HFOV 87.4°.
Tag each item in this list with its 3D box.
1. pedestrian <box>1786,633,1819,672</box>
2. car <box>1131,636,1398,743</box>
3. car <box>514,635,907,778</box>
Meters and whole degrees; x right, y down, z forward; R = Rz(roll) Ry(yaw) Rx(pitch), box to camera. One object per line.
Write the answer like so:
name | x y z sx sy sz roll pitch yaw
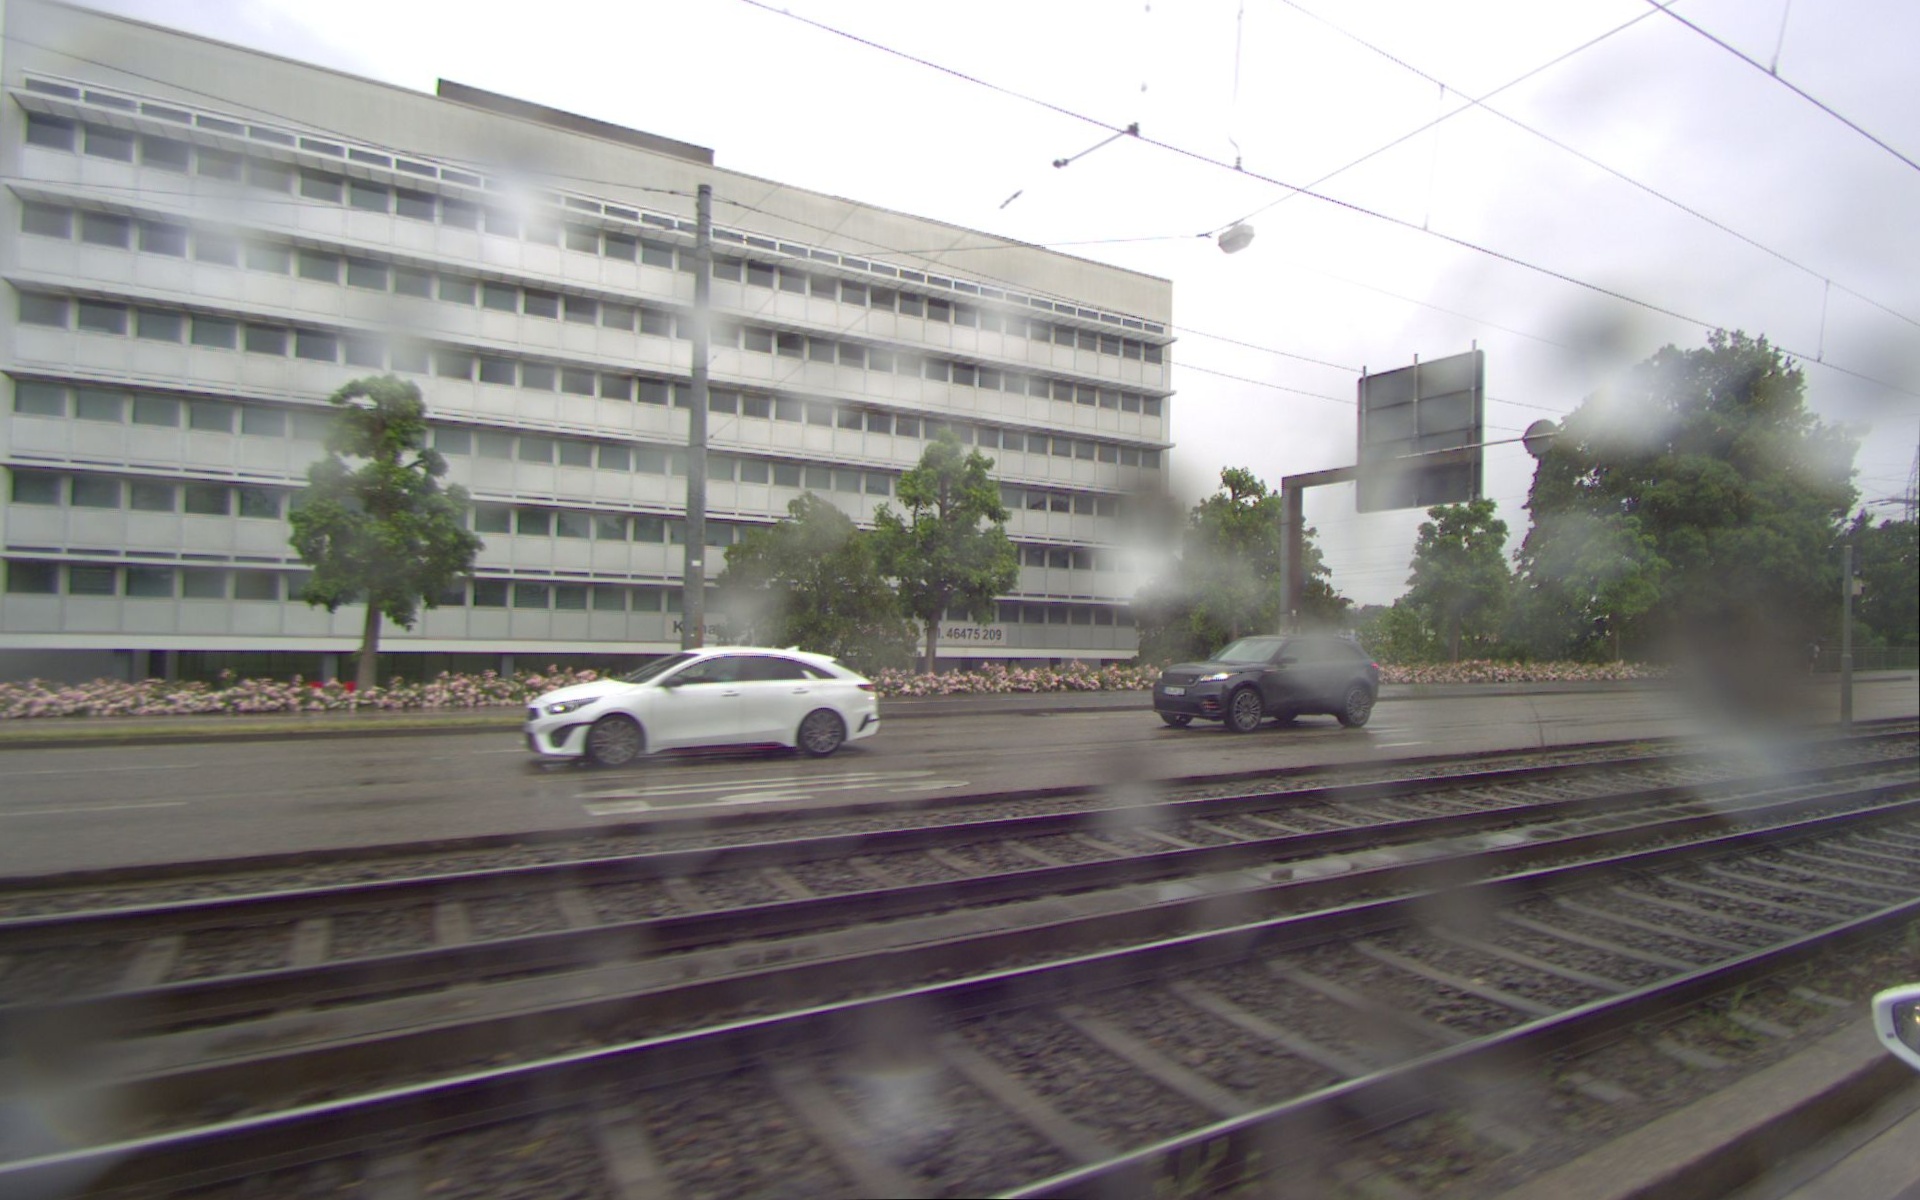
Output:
pedestrian | 39.386 2.439 46.940 1.108 1.782 0.847 1 -2 -30
car | 5.658 1.542 18.500 4.825 1.744 1.984 1 -2 -31
car | -3.234 1.271 13.329 4.711 1.604 1.984 1 -2 -31
